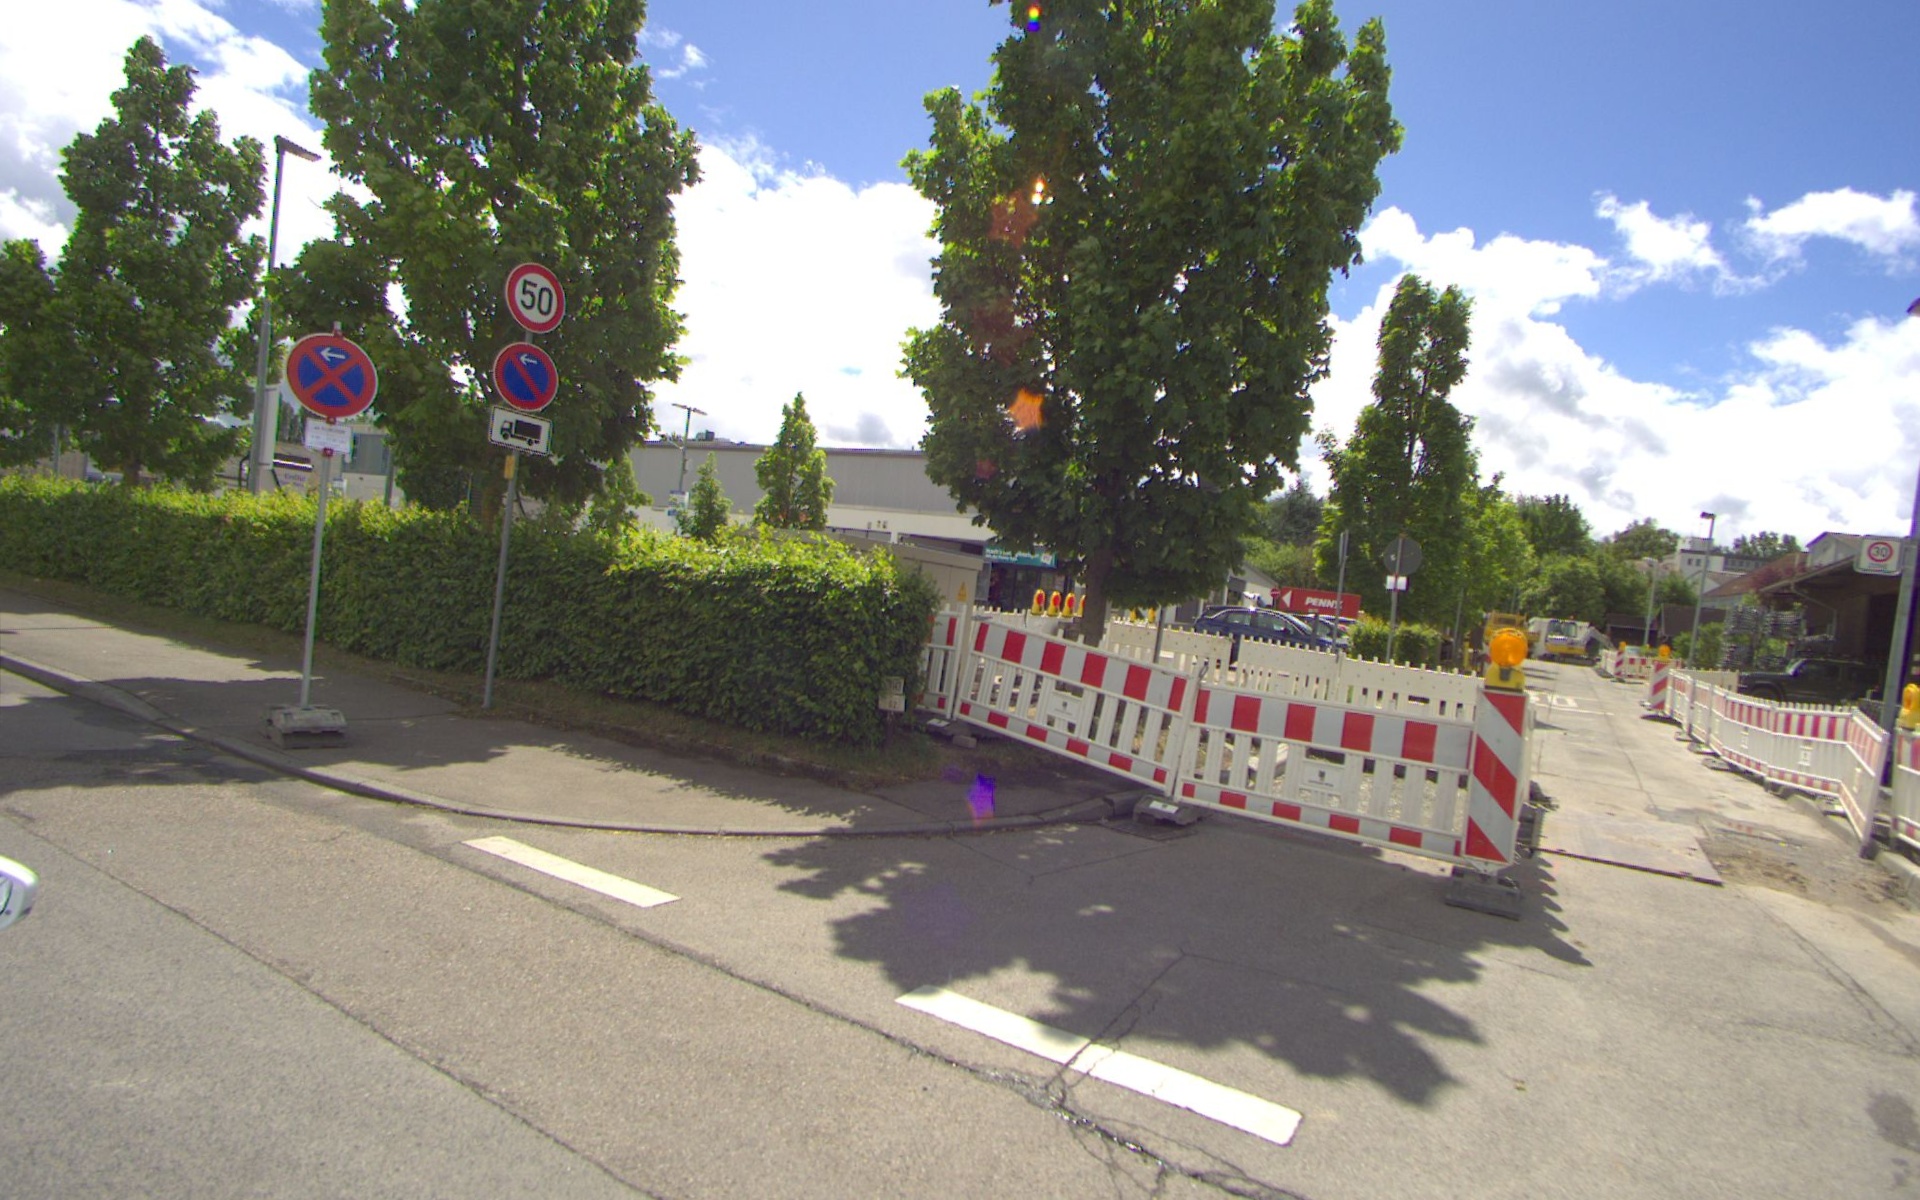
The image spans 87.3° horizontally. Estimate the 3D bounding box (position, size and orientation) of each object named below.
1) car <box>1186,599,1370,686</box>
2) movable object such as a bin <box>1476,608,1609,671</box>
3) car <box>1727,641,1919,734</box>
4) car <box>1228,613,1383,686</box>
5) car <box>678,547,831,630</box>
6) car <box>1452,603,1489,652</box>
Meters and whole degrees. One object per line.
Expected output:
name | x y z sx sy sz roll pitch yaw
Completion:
car | 7.935 1.057 25.220 3.936 1.603 1.749 7 -2 34
movable object such as a bin | 35.646 2.404 61.730 6.585 2.793 3.939 7 -2 32
car | 24.597 2.480 28.697 3.934 2.037 1.907 7 -2 32
car | 10.334 1.479 30.146 3.936 1.603 1.749 7 -2 34
car | -5.754 -0.267 28.652 1.966 1.725 3.998 7 -2 29
car | 36.791 2.037 72.409 1.901 2.955 5.170 7 -2 30
